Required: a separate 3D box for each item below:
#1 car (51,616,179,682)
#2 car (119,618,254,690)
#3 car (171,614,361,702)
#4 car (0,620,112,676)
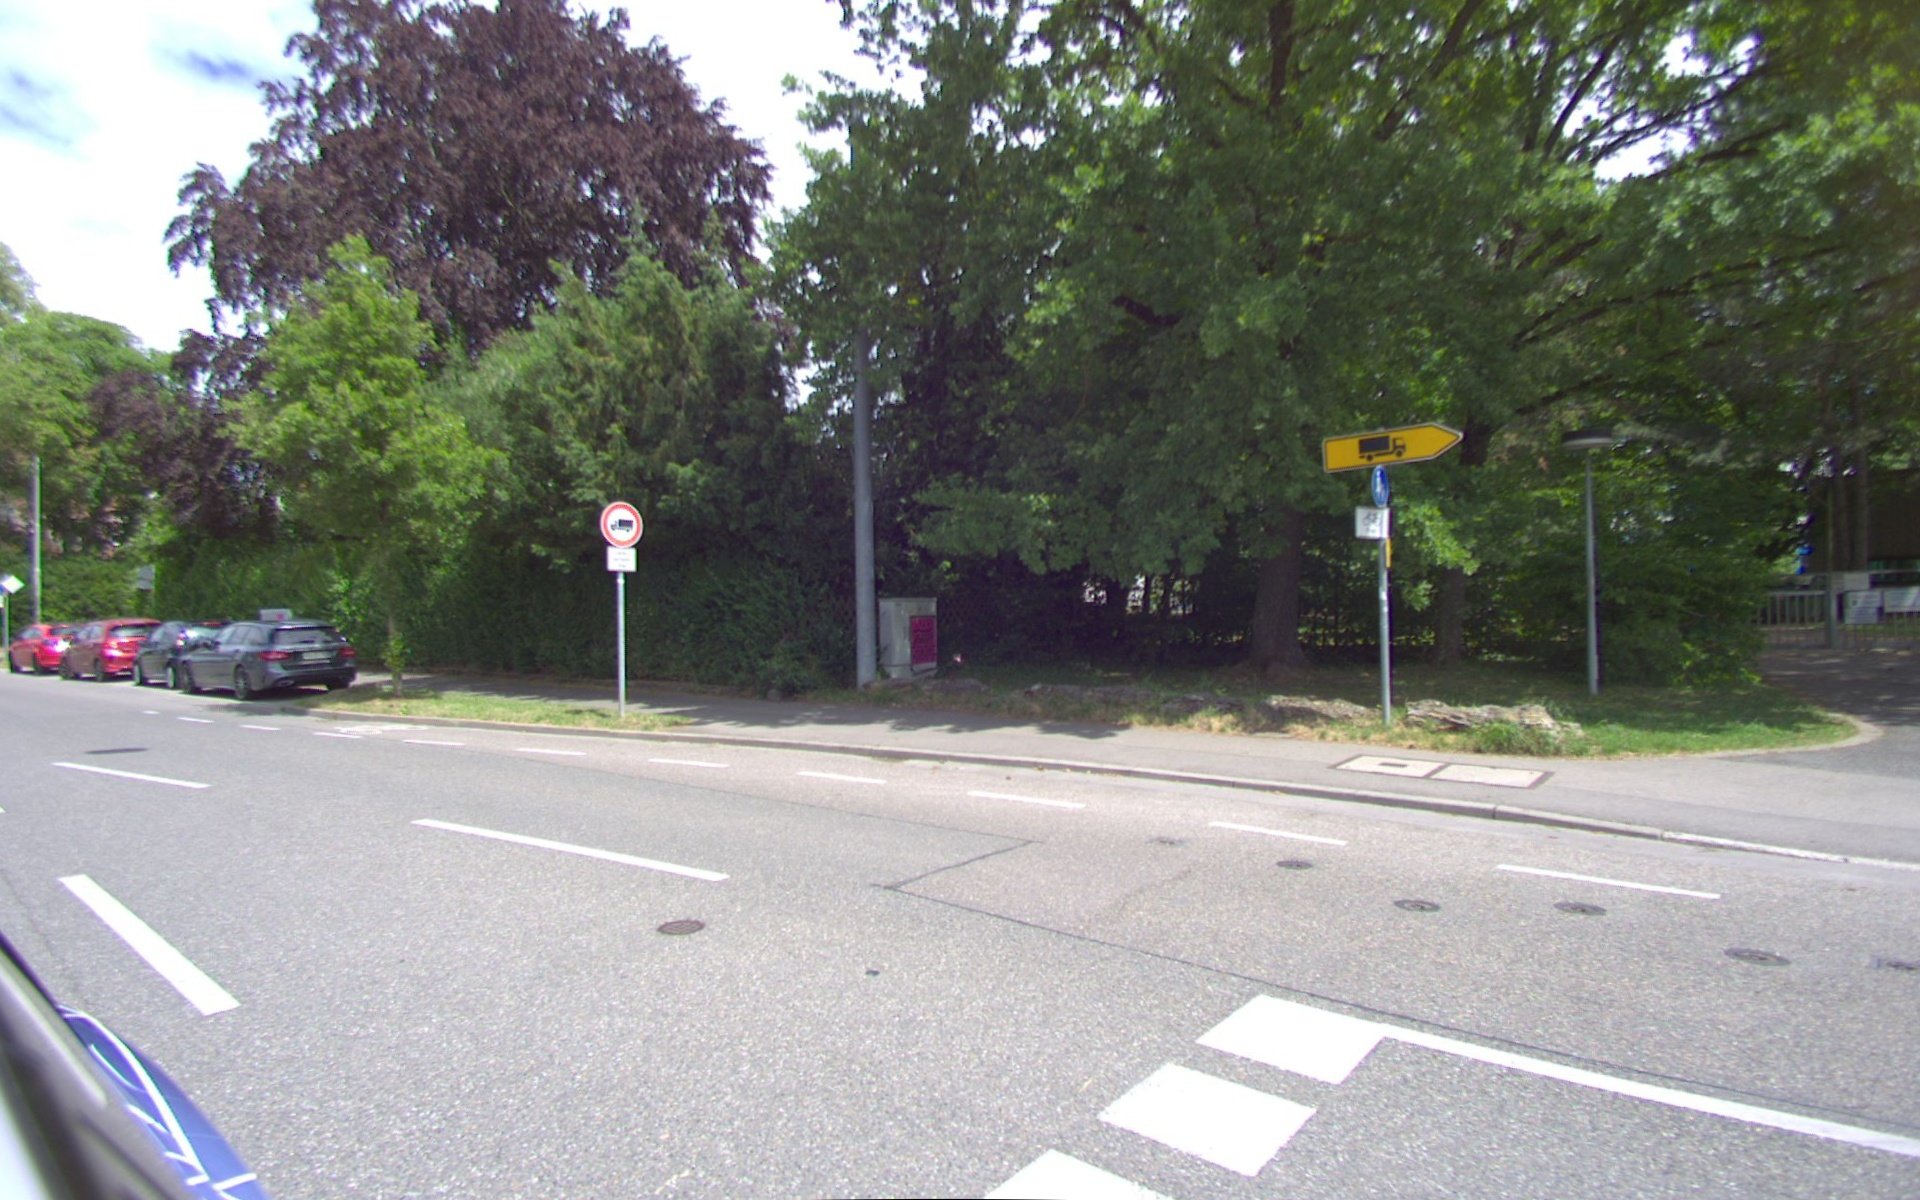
[{"bbox_3d":[-20.952,1.172,25.082,3.315,1.489,1.507,-1,1,33],"label":"car"},{"bbox_3d":[-17.220,1.141,22.502,3.187,1.422,1.541,0,1,36],"label":"car"},{"bbox_3d":[-13.560,1.045,19.696,4.393,1.426,1.668,0,1,36],"label":"car"},{"bbox_3d":[-25.157,1.298,28.132,3.365,1.376,1.514,0,1,33],"label":"car"}]
